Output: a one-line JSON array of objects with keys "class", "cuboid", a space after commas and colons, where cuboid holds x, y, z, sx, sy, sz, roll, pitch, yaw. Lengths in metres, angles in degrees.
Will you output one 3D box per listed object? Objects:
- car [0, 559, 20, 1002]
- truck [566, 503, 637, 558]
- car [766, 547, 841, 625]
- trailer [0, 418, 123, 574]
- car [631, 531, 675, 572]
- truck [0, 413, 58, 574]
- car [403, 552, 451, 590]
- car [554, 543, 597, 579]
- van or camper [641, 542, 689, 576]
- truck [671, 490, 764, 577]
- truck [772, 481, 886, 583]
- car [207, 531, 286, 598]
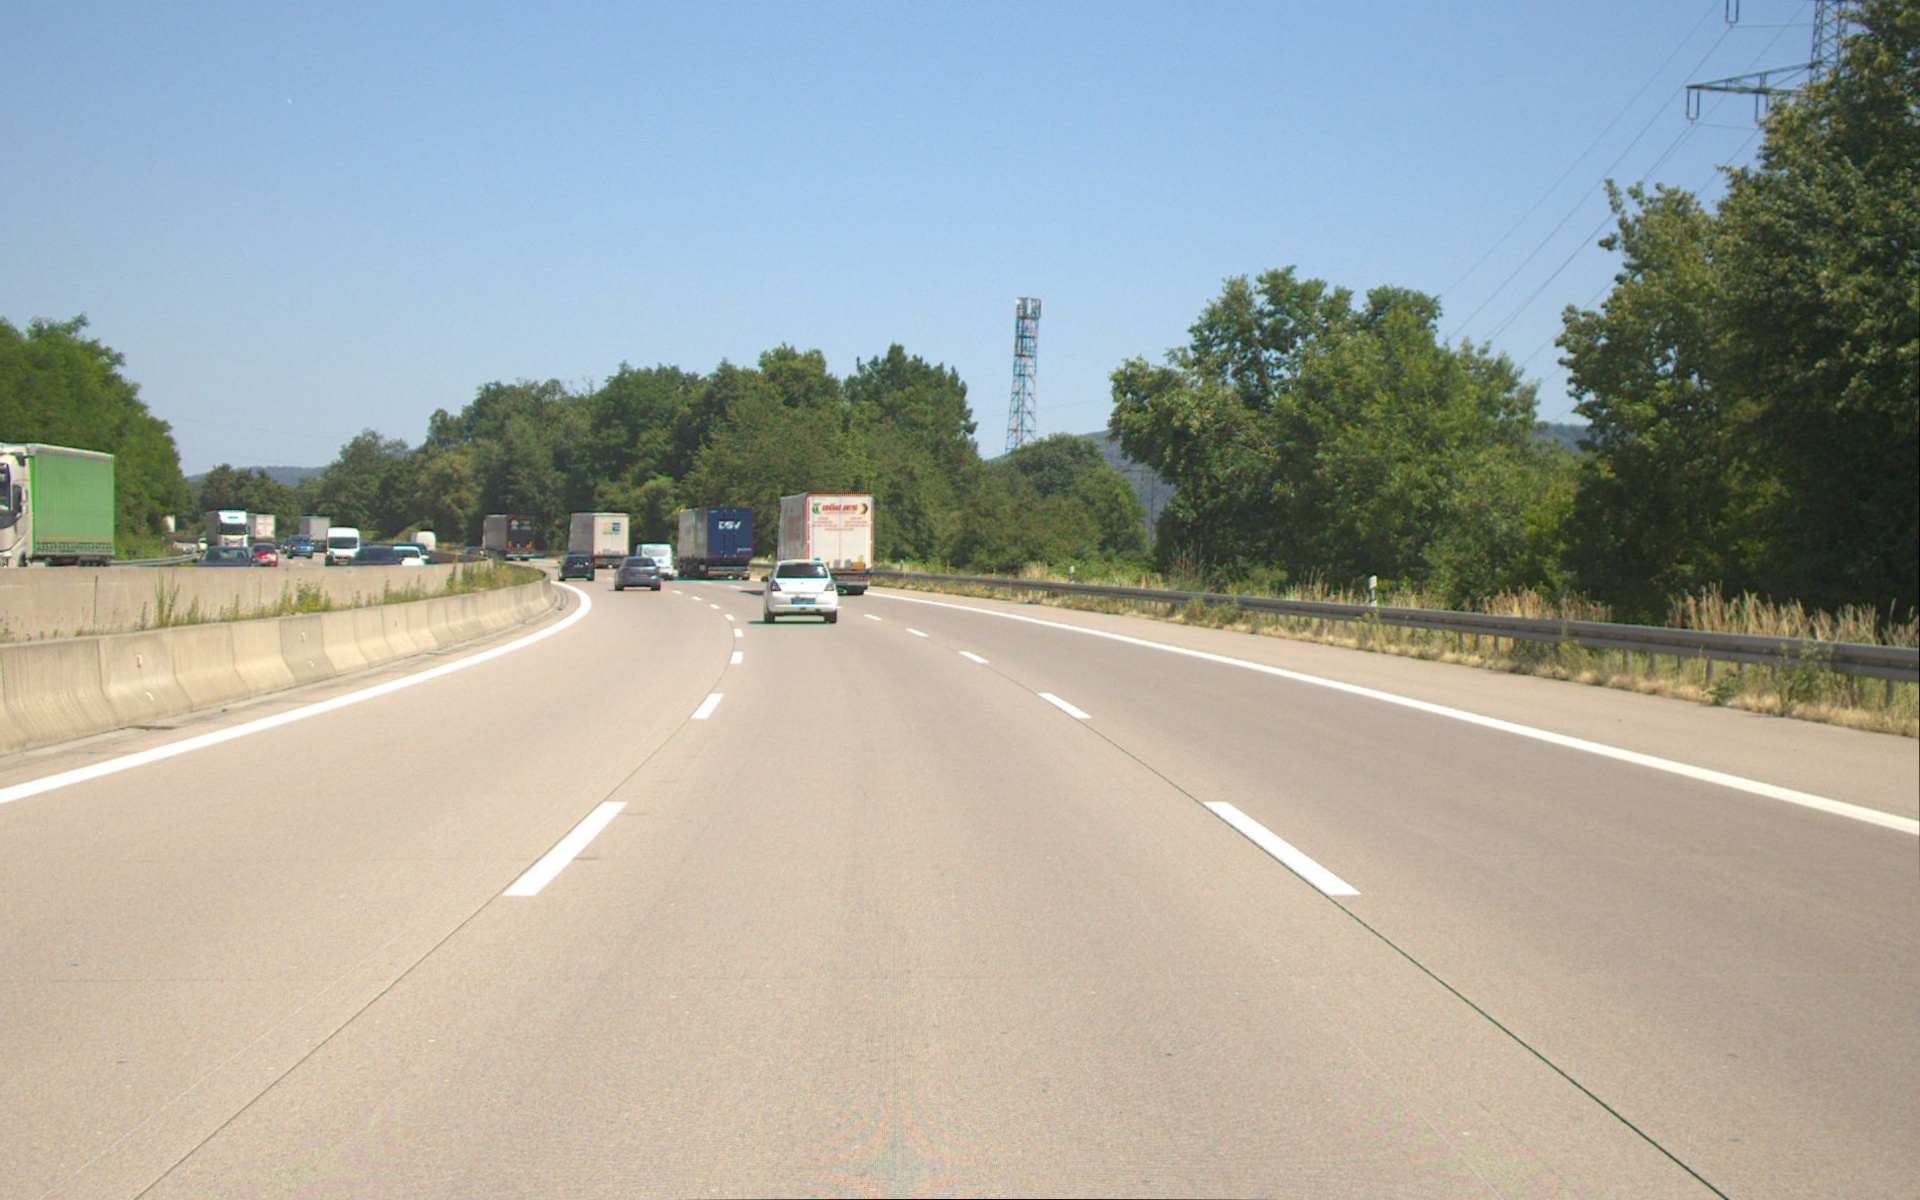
[{"class": "car", "cuboid": [-4.109, 0.638, 8.828, 1.891, 1.468, 5.604, 1, 1, 0]}, {"class": "truck", "cuboid": [-26.919, -5.137, 257.325, 3.895, 3.969, 13.625, 0, 1, -12]}, {"class": "car", "cuboid": [-3.778, -0.355, 82.939, 1.641, 1.656, 3.361, 5, 1, -3]}, {"class": "trailer", "cuboid": [-25.169, -2.721, 93.043, 2.682, 3.922, 13.248, 0, 1, -4]}, {"class": "car", "cuboid": [-13.259, -2.095, 148.352, 1.609, 1.719, 3.574, 0, 1, -10]}, {"class": "truck", "cuboid": [-24.799, -2.656, 87.156, 2.664, 3.922, 5.970, 0, 1, -4]}, {"class": "car", "cuboid": [-22.788, -1.255, 147.100, 1.993, 1.610, 4.001, 0, 1, -8]}, {"class": "car", "cuboid": [-20.889, -2.154, 186.709, 2.021, 1.694, 4.001, 5, 1, -9]}, {"class": "van or camper", "cuboid": [-16.146, -2.238, 187.779, 1.867, 1.831, 4.001, 0, 1, -16]}, {"class": "truck", "cuboid": [-13.875, -3.730, 195.503, 3.906, 4.725, 14.054, 0, 1, -10]}, {"class": "truck", "cuboid": [-5.392, -2.697, 138.946, 3.819, 3.876, 14.155, 0, 1, -5]}, {"class": "car", "cuboid": [-21.936, -1.095, 105.778, 1.862, 2.007, 4.001, 0, 1, -4]}]
